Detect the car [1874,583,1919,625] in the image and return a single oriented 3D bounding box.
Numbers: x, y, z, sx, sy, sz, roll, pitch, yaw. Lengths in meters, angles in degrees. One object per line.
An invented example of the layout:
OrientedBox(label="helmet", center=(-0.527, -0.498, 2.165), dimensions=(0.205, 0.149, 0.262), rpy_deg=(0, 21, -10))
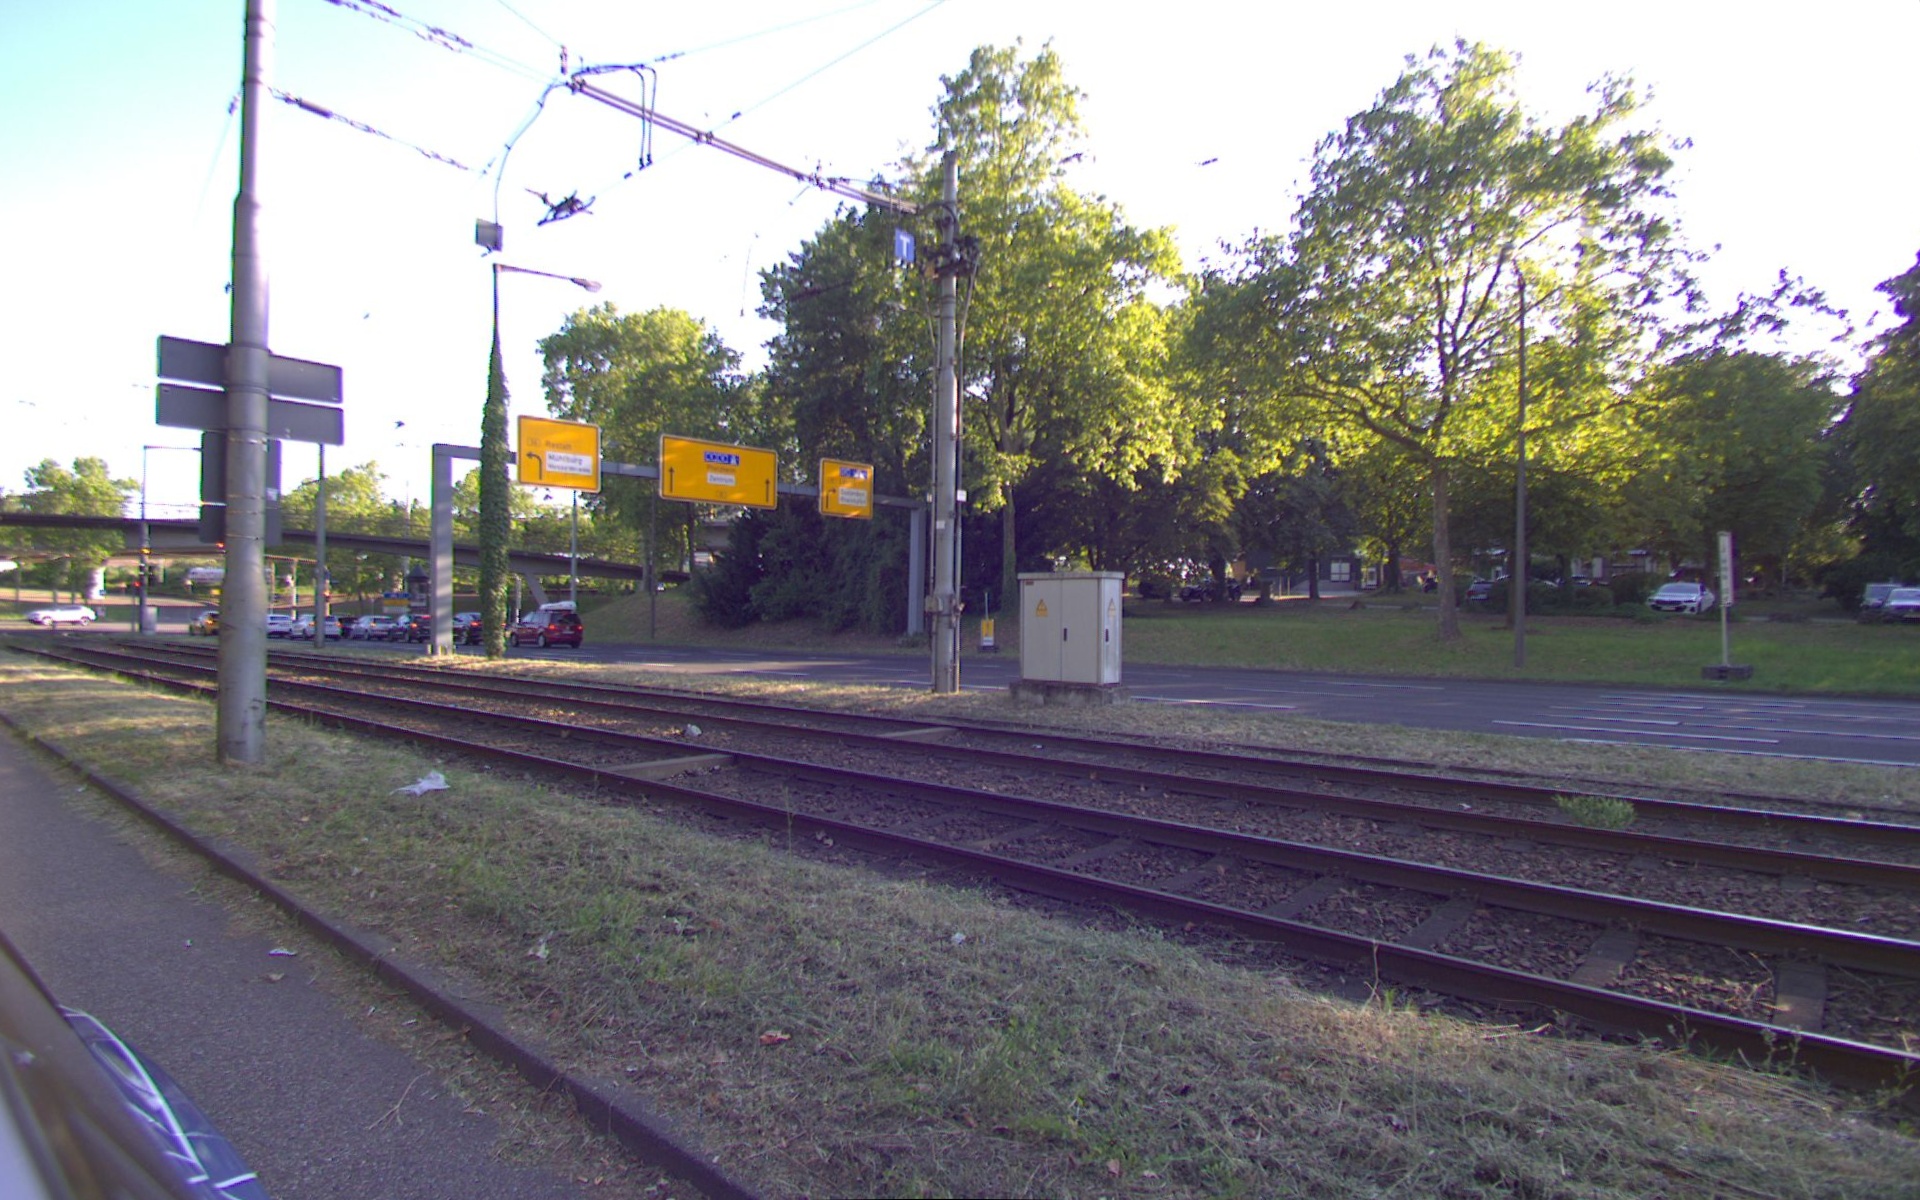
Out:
OrientedBox(label="car", center=(36.944, 0.134, 39.350), dimensions=(2.043, 1.586, 4.341), rpy_deg=(-1, 0, 42))

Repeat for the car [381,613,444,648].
OrientedBox(label="car", center=(-29.686, 1.628, 54.792), dimensions=(3.999, 1.763, 1.773), rpy_deg=(-1, 0, 42))

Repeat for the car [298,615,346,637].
OrientedBox(label="car", center=(-43.383, 1.753, 68.758), dimensions=(3.999, 1.453, 1.773), rpy_deg=(-1, 0, 42))

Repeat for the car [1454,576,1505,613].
OrientedBox(label="car", center=(25.517, -0.258, 49.637), dimensions=(1.823, 1.700, 4.178), rpy_deg=(-1, 0, 33))

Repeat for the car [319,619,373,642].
OrientedBox(label="car", center=(-39.595, 1.939, 65.238), dimensions=(4.475, 1.393, 1.773), rpy_deg=(0, 0, 42))

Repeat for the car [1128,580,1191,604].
OrientedBox(label="car", center=(13.304, -0.534, 67.379), dimensions=(3.933, 1.564, 1.812), rpy_deg=(0, 0, -34))

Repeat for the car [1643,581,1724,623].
OrientedBox(label="car", center=(31.651, 0.067, 44.213), dimensions=(4.826, 1.719, 2.002), rpy_deg=(-1, 0, -43))

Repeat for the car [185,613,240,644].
OrientedBox(label="car", center=(-40.976, 1.543, 55.448), dimensions=(3.999, 1.577, 1.645), rpy_deg=(0, 0, 42))

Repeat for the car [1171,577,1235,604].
OrientedBox(label="car", center=(14.500, -0.570, 60.354), dimensions=(3.939, 1.564, 1.810), rpy_deg=(0, 0, -43))

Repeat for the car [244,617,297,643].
OrientedBox(label="car", center=(-41.403, 1.792, 60.772), dimensions=(4.412, 1.443, 1.722), rpy_deg=(0, -3, 44))

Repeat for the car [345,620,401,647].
OrientedBox(label="car", center=(-35.219, 1.990, 60.687), dimensions=(3.999, 1.492, 1.773), rpy_deg=(-1, 0, 42))

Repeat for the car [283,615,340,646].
OrientedBox(label="car", center=(-36.074, 1.677, 56.246), dimensions=(4.190, 1.577, 1.645), rpy_deg=(0, 0, 42))

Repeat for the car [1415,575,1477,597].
OrientedBox(label="car", center=(35.392, -1.016, 73.748), dimensions=(3.976, 1.564, 1.793), rpy_deg=(-1, 0, 25))

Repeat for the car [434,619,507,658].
OrientedBox(label="car", center=(-24.278, 1.860, 50.139), dimensions=(4.240, 1.763, 1.773), rpy_deg=(0, 0, 42))

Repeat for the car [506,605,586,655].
OrientedBox(label="car", center=(-18.645, 1.304, 45.514), dimensions=(3.999, 2.121, 1.773), rpy_deg=(0, 0, 42))
